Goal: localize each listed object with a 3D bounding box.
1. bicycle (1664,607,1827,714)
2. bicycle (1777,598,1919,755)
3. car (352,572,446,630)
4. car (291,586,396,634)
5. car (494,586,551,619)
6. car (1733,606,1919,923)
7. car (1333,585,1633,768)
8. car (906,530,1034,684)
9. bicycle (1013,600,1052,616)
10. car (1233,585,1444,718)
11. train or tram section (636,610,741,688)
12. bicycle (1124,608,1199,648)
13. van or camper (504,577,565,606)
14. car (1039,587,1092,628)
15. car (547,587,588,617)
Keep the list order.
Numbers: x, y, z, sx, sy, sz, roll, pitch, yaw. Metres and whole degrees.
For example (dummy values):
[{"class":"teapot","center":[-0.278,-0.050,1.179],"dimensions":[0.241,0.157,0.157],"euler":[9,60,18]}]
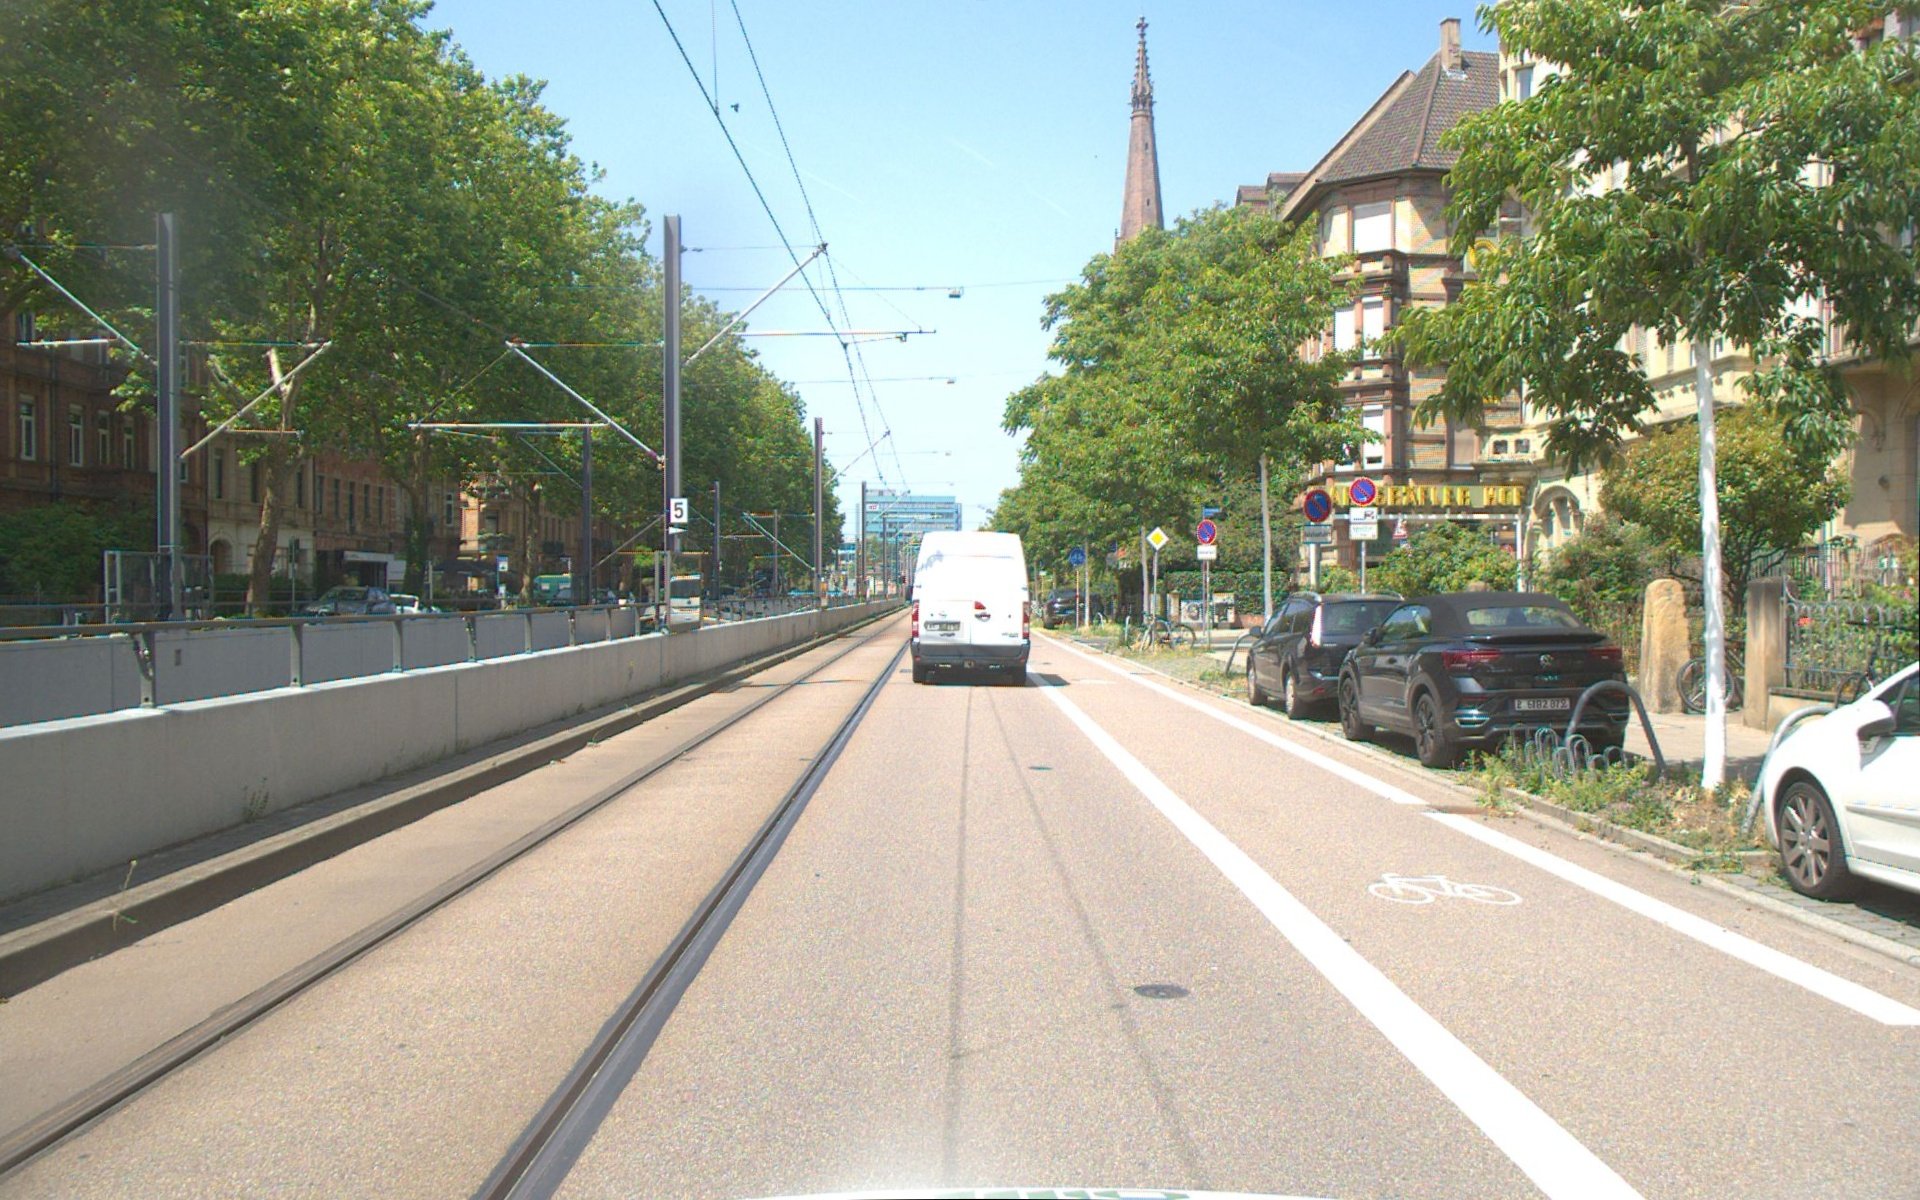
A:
[{"class":"bicycle","center":[9.073,0.691,19.113],"dimensions":[1.655,1.095,0.343],"euler":[-4,0,-1]},{"class":"bicycle","center":[8.032,0.628,14.613],"dimensions":[0.580,1.284,2.092],"euler":[0,0,-1]},{"class":"car","center":[-19.510,0.028,57.684],"dimensions":[1.953,1.937,4.147],"euler":[0,0,-1]},{"class":"car","center":[-19.402,0.291,52.194],"dimensions":[1.814,1.425,4.196],"euler":[0,0,-1]},{"class":"car","center":[-20.083,0.085,76.087],"dimensions":[1.559,1.473,4.000],"euler":[0,0,0]},{"class":"car","center":[5.183,0.762,7.377],"dimensions":[1.578,1.430,4.000],"euler":[0,0,-1]},{"class":"car","center":[4.917,0.640,16.132],"dimensions":[1.633,1.557,4.012],"euler":[0,0,-1]},{"class":"car","center":[0.124,0.103,29.550],"dimensions":[2.074,2.502,5.053],"euler":[0,0,-1]},{"class":"bicycle","center":[4.009,0.413,91.197],"dimensions":[1.526,0.841,4.003],"euler":[0,0,12]},{"class":"car","center":[4.825,0.594,21.689],"dimensions":[1.694,1.562,4.403],"euler":[0,0,-1]},{"class":"train or tram section","center":[-9.955,1.724,61.429],"dimensions":[2.674,2.552,8.514],"euler":[0,0,-2]},{"class":"bicycle","center":[4.973,0.701,40.951],"dimensions":[1.804,0.970,0.503],"euler":[0,0,1]},{"class":"van or camper","center":[-30.599,-0.616,118.888],"dimensions":[3.907,2.049,1.999],"euler":[0,0,-3]},{"class":"car","center":[4.497,0.289,70.916],"dimensions":[2.112,1.699,4.001],"euler":[0,0,2]},{"class":"car","center":[-19.870,0.100,83.798],"dimensions":[1.345,1.448,3.088],"euler":[0,0,0]}]
